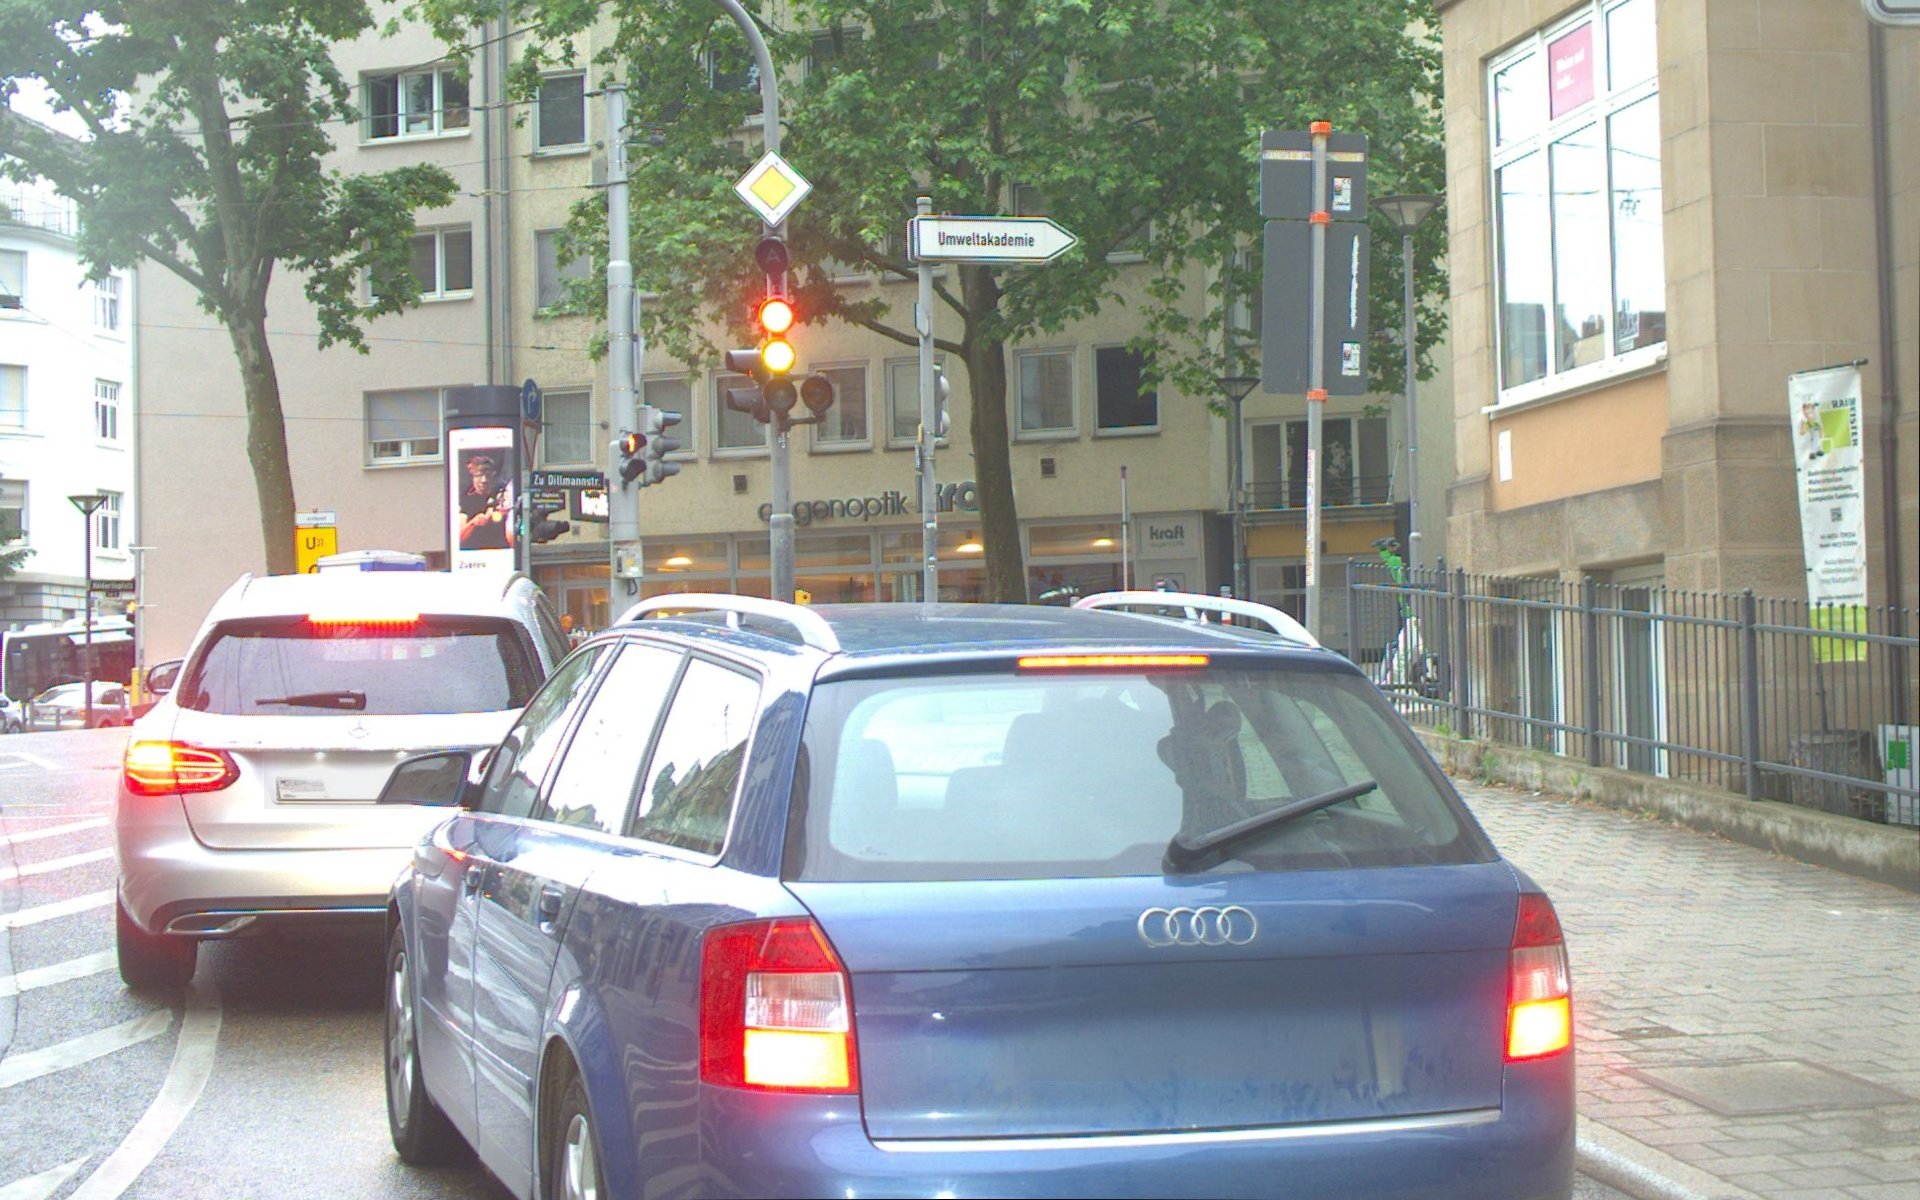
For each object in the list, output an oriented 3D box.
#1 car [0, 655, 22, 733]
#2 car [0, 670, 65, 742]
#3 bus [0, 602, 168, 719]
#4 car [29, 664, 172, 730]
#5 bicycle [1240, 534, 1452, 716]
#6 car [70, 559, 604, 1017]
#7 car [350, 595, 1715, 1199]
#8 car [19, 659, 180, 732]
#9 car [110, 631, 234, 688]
[{"bbox_3d":[-19.928,1.946,67.730,1.794,1.505,4.000,-4,1,-1],"label":"car"},{"bbox_3d":[-23.799,2.625,84.106,1.796,1.609,3.997,-1,1,17],"label":"car"},{"bbox_3d":[-25.138,1.617,94.422,2.856,2.851,8.728,-1,1,14],"label":"bus"},{"bbox_3d":[-22.516,2.520,90.205,1.796,1.505,3.997,-1,1,17],"label":"car"},{"bbox_3d":[2.659,0.163,23.713,1.300,1.169,0.526,-3,1,-12],"label":"bicycle"},{"bbox_3d":[-2.253,0.584,12.935,1.710,1.451,3.554,0,1,-8],"label":"car"},{"bbox_3d":[-0.183,0.730,7.226,1.710,1.410,4.037,0,1,-17],"label":"car"},{"bbox_3d":[-20.562,2.271,82.330,1.795,1.505,4.663,-1,1,13],"label":"car"},{"bbox_3d":[-23.330,1.744,101.917,1.796,1.505,3.997,-1,1,17],"label":"car"}]
